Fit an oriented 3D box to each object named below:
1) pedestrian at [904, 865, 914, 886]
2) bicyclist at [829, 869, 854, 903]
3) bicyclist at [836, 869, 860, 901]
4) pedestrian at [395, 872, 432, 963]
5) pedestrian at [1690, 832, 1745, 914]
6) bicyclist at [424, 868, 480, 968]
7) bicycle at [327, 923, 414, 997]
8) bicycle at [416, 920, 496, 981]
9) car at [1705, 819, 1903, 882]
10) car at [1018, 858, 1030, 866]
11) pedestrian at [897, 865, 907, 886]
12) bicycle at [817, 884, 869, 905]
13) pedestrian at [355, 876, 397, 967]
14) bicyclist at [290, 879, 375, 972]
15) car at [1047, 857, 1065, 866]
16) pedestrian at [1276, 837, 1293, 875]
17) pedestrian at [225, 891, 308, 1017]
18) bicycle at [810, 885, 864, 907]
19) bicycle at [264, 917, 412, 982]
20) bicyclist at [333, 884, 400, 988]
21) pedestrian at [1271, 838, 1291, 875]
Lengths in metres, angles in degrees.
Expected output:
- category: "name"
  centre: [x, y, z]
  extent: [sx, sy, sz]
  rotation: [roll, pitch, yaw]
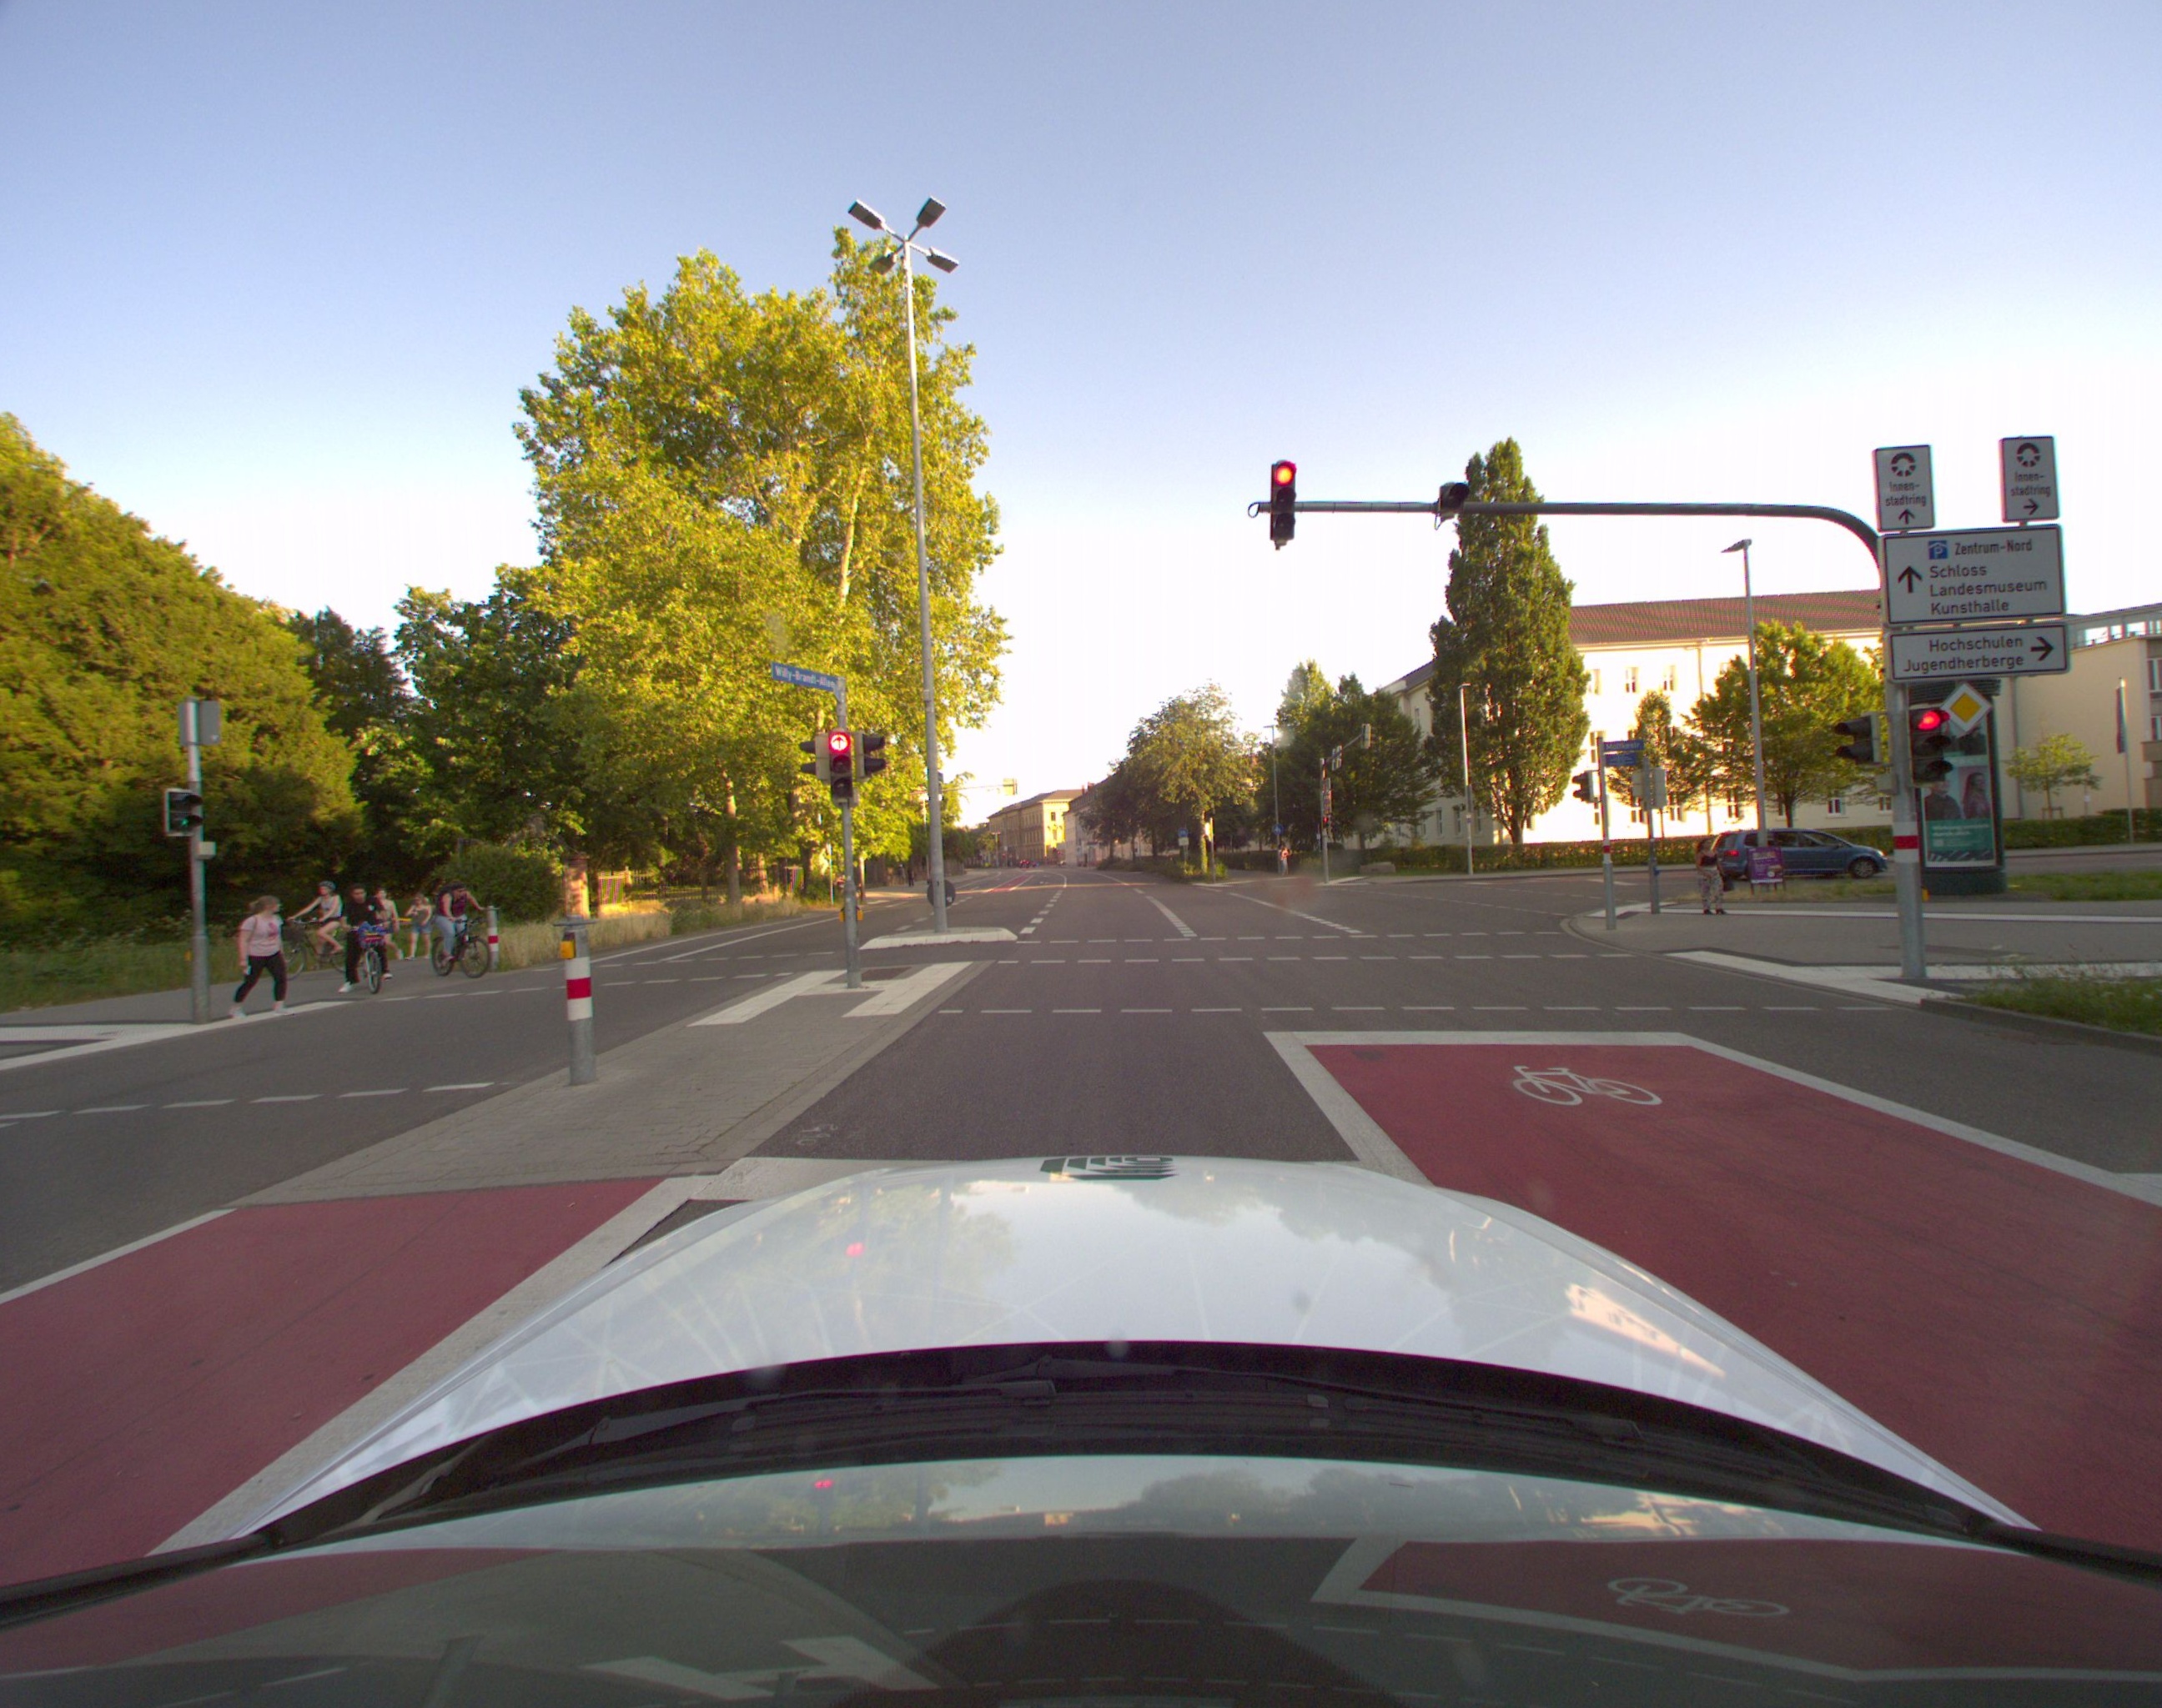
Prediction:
- category: "pedestrian"
  centre: [-13.366, 1.690, 63.239]
  extent: [0.597, 1.573, 0.646]
  rotation: [-3, 0, 1]
- category: "bicyclist"
  centre: [-11.968, 1.593, 40.712]
  extent: [0.954, 1.631, 0.753]
  rotation: [-3, 0, 2]
- category: "bicyclist"
  centre: [-12.140, 1.606, 42.435]
  extent: [0.954, 1.631, 0.753]
  rotation: [-3, 0, 2]
- category: "pedestrian"
  centre: [-15.269, 1.424, 18.636]
  extent: [0.598, 2.014, 0.634]
  rotation: [-1, -1, -38]
- category: "pedestrian"
  centre: [13.090, 0.378, 16.764]
  extent: [0.596, 1.636, 0.692]
  rotation: [-2, 0, 6]
- category: "bicyclist"
  centre: [-11.633, 1.169, 15.066]
  extent: [0.631, 1.780, 0.580]
  rotation: [-3, -1, 32]
- category: "bicycle"
  centre: [-11.805, 1.730, 13.524]
  extent: [1.548, 1.111, 0.637]
  rotation: [-3, -1, 32]
- category: "bicycle"
  centre: [-11.561, 1.753, 15.045]
  extent: [1.749, 1.030, 0.583]
  rotation: [-3, 0, 32]
- category: "car"
  centre: [22.524, -0.119, 25.588]
  extent: [4.247, 1.720, 1.864]
  rotation: [-3, 2, 18]
- category: "car"
  centre: [-11.927, 1.755, 170.253]
  extent: [1.821, 1.588, 3.983]
  rotation: [-4, 0, -12]
- category: "pedestrian"
  centre: [-13.879, 1.699, 63.252]
  extent: [0.533, 1.596, 0.591]
  rotation: [-3, 0, 1]
- category: "bicycle"
  centre: [-12.396, 2.109, 42.436]
  extent: [2.420, 0.924, 0.775]
  rotation: [-3, 0, 2]
- category: "pedestrian"
  centre: [-16.006, 1.507, 18.498]
  extent: [0.654, 2.014, 0.599]
  rotation: [-1, -1, -37]
- category: "bicyclist"
  centre: [-14.779, 1.387, 16.103]
  extent: [0.752, 1.728, 0.944]
  rotation: [-2, -1, 0]
- category: "car"
  centre: [-6.178, 1.864, 201.215]
  extent: [3.966, 2.013, 2.004]
  rotation: [-2, 0, 6]
- category: "pedestrian"
  centre: [10.861, 0.121, 43.517]
  extent: [0.633, 2.014, 0.720]
  rotation: [-2, -1, -2]
- category: "pedestrian"
  centre: [-11.434, 1.387, 11.447]
  extent: [0.604, 1.695, 0.499]
  rotation: [-3, 0, 3]
- category: "bicycle"
  centre: [-12.202, 2.093, 40.715]
  extent: [2.420, 0.924, 0.775]
  rotation: [-3, 0, 2]
- category: "bicycle"
  centre: [-14.721, 1.859, 16.250]
  extent: [0.736, 1.033, 2.299]
  rotation: [-2, 0, 3]
- category: "bicyclist"
  centre: [-11.926, 1.346, 13.596]
  extent: [0.631, 1.649, 0.634]
  rotation: [-3, -1, 32]
- category: "pedestrian"
  centre: [11.052, 0.144, 44.998]
  extent: [0.867, 2.014, 0.723]
  rotation: [-2, -1, 1]
